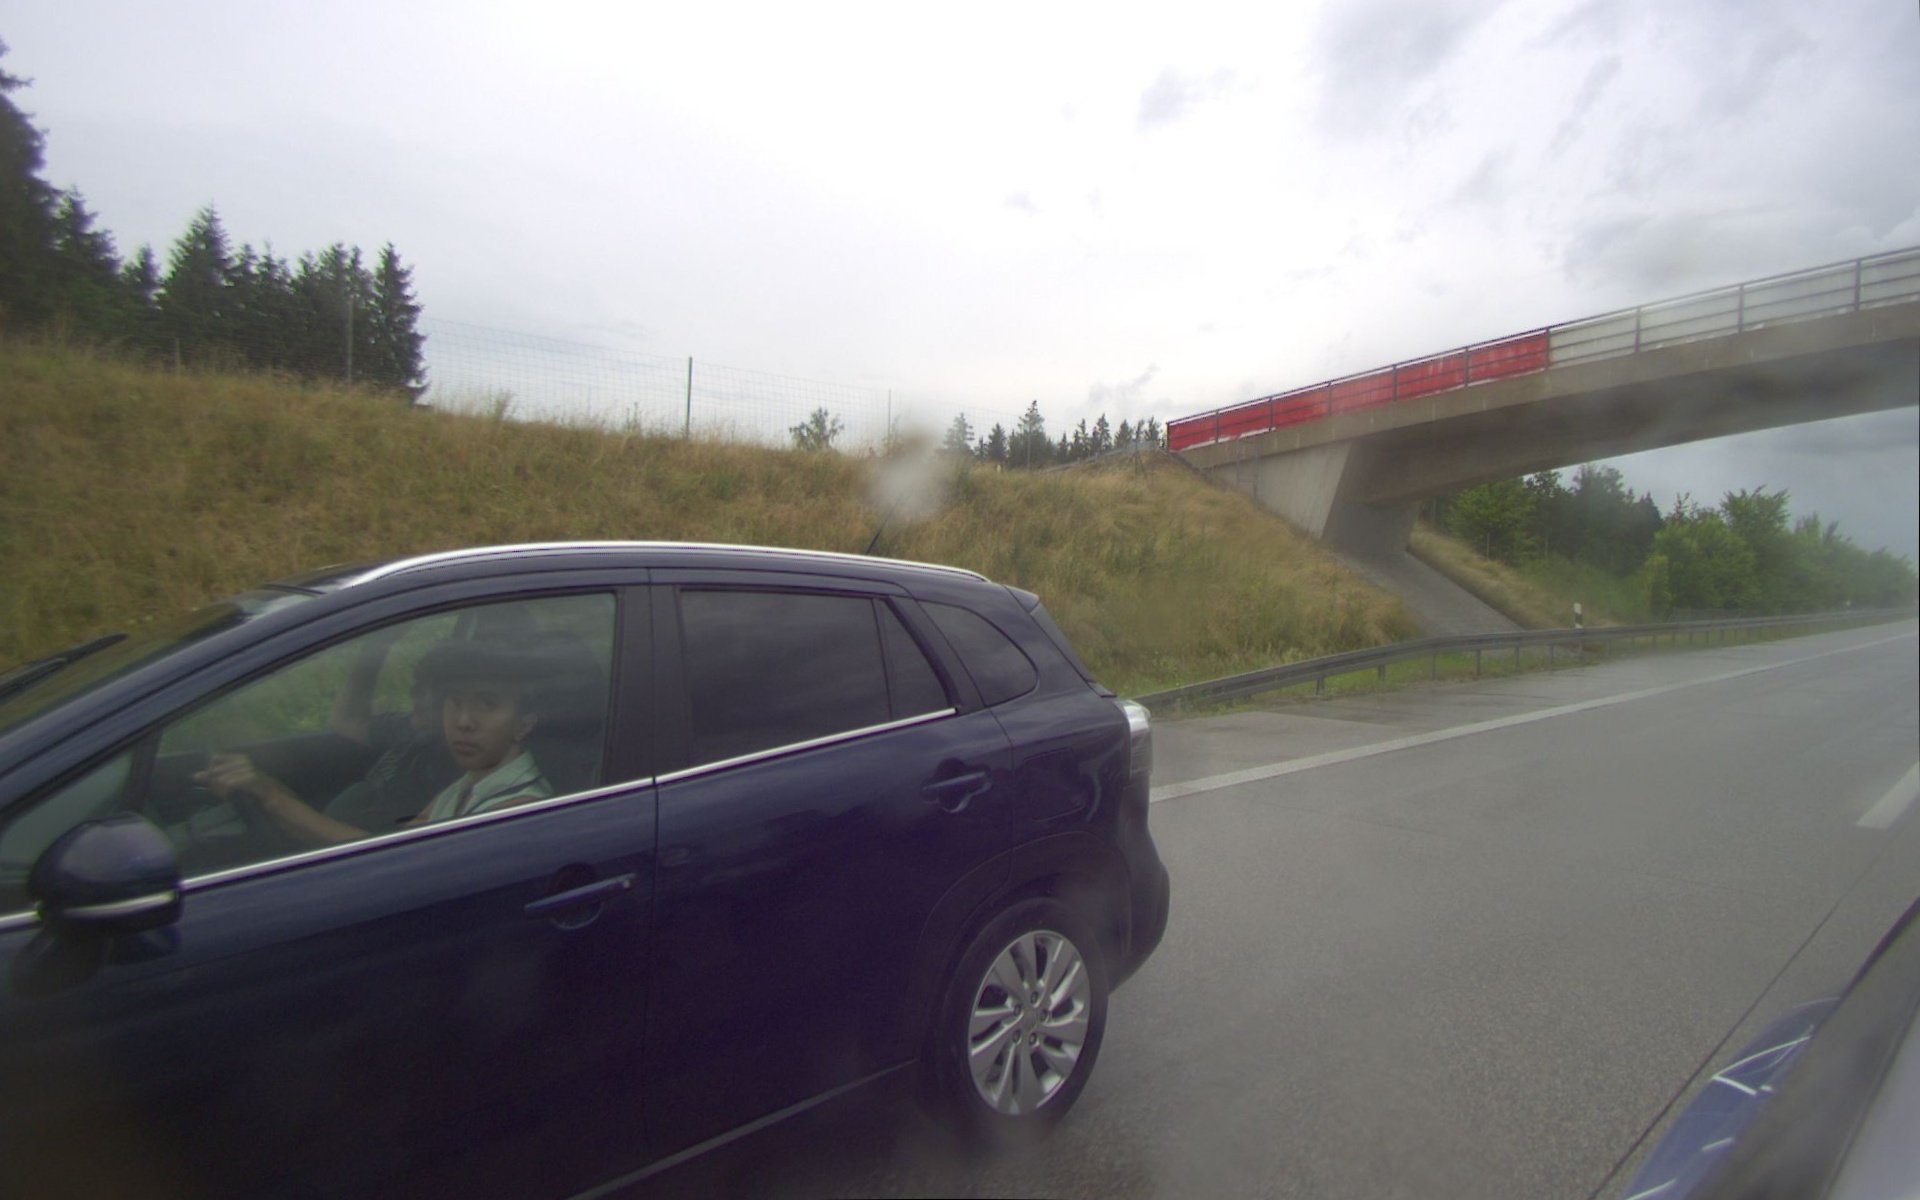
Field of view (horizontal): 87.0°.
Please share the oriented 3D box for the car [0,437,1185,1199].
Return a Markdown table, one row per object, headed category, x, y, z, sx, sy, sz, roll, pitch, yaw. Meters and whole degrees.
| category | x | y | z | sx | sy | sz | roll | pitch | yaw |
| --- | --- | --- | --- | --- | --- | --- | --- | --- | --- |
| car | -1.299 | 0.587 | 2.535 | 3.568 | 1.596 | 1.897 | 0 | 0 | -41 |
